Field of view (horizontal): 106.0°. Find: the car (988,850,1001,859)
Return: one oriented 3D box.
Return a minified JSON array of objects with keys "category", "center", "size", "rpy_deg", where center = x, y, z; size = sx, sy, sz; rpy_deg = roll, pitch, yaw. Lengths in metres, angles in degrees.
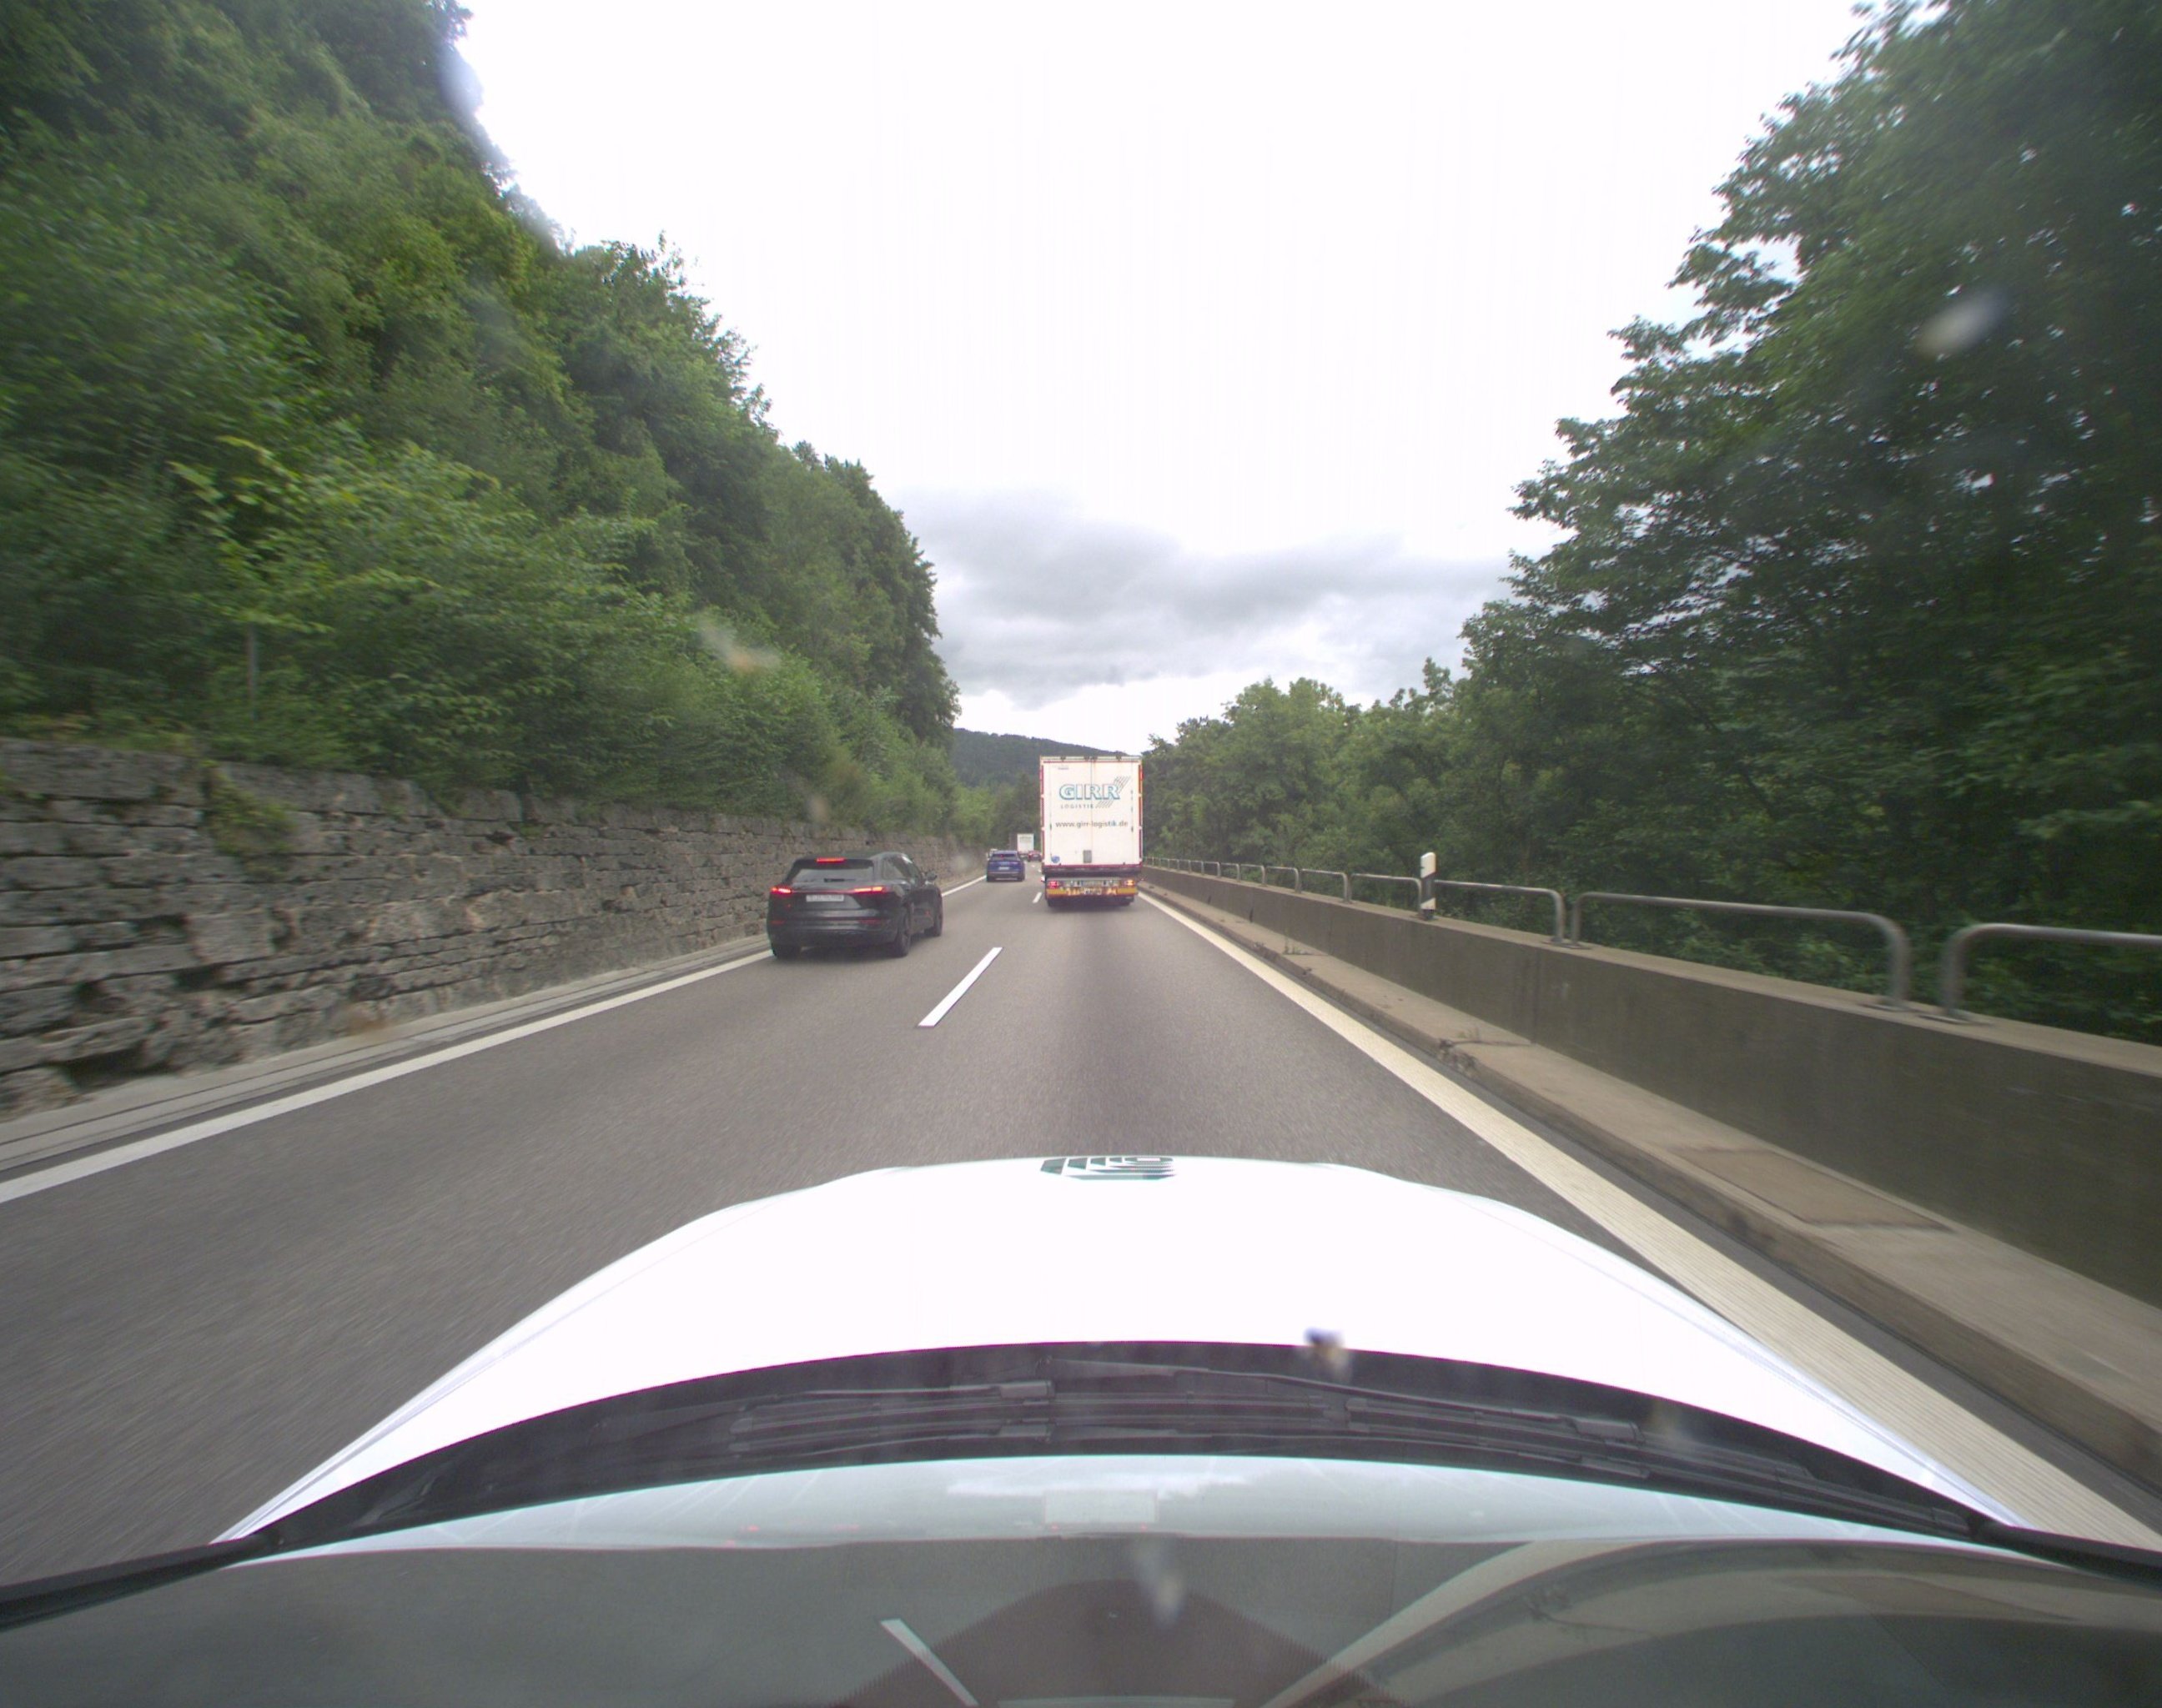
[{"category":"car","center":[-14.530,0.047,136.642],"size":[1.896,1.550,4.237],"rpy_deg":[0,0,-9]}]

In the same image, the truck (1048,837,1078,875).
[{"category":"truck","center":[-1.450,0.169,62.925],"size":[2.204,2.851,4.998],"rpy_deg":[0,0,-3]}]

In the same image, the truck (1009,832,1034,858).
[{"category":"truck","center":[-9.415,-1.376,127.681],"size":[2.634,3.857,12.316],"rpy_deg":[-1,0,-10]}]

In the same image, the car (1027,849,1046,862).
[{"category":"car","center":[-5.810,0.183,105.895],"size":[2.060,1.654,3.988],"rpy_deg":[-1,0,-9]}]

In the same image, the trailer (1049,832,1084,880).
[{"category":"trailer","center":[-1.132,0.129,57.190],"size":[2.206,3.048,11.128],"rpy_deg":[0,0,-2]}]

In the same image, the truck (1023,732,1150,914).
[{"category":"truck","center":[0.020,-0.778,27.770],"size":[3.075,4.464,15.148],"rpy_deg":[-1,0,-1]}]

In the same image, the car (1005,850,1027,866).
[{"category":"car","center":[-7.180,0.403,89.182],"size":[1.993,1.596,4.339],"rpy_deg":[-1,1,-10]}]

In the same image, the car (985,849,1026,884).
[{"category":"car","center":[-3.945,0.602,43.182],"size":[1.990,1.632,5.001],"rpy_deg":[-1,1,-4]}]

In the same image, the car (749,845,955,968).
[{"category":"car","center":[-3.515,0.716,13.641],"size":[1.987,1.632,5.007],"rpy_deg":[-2,0,0]}]
